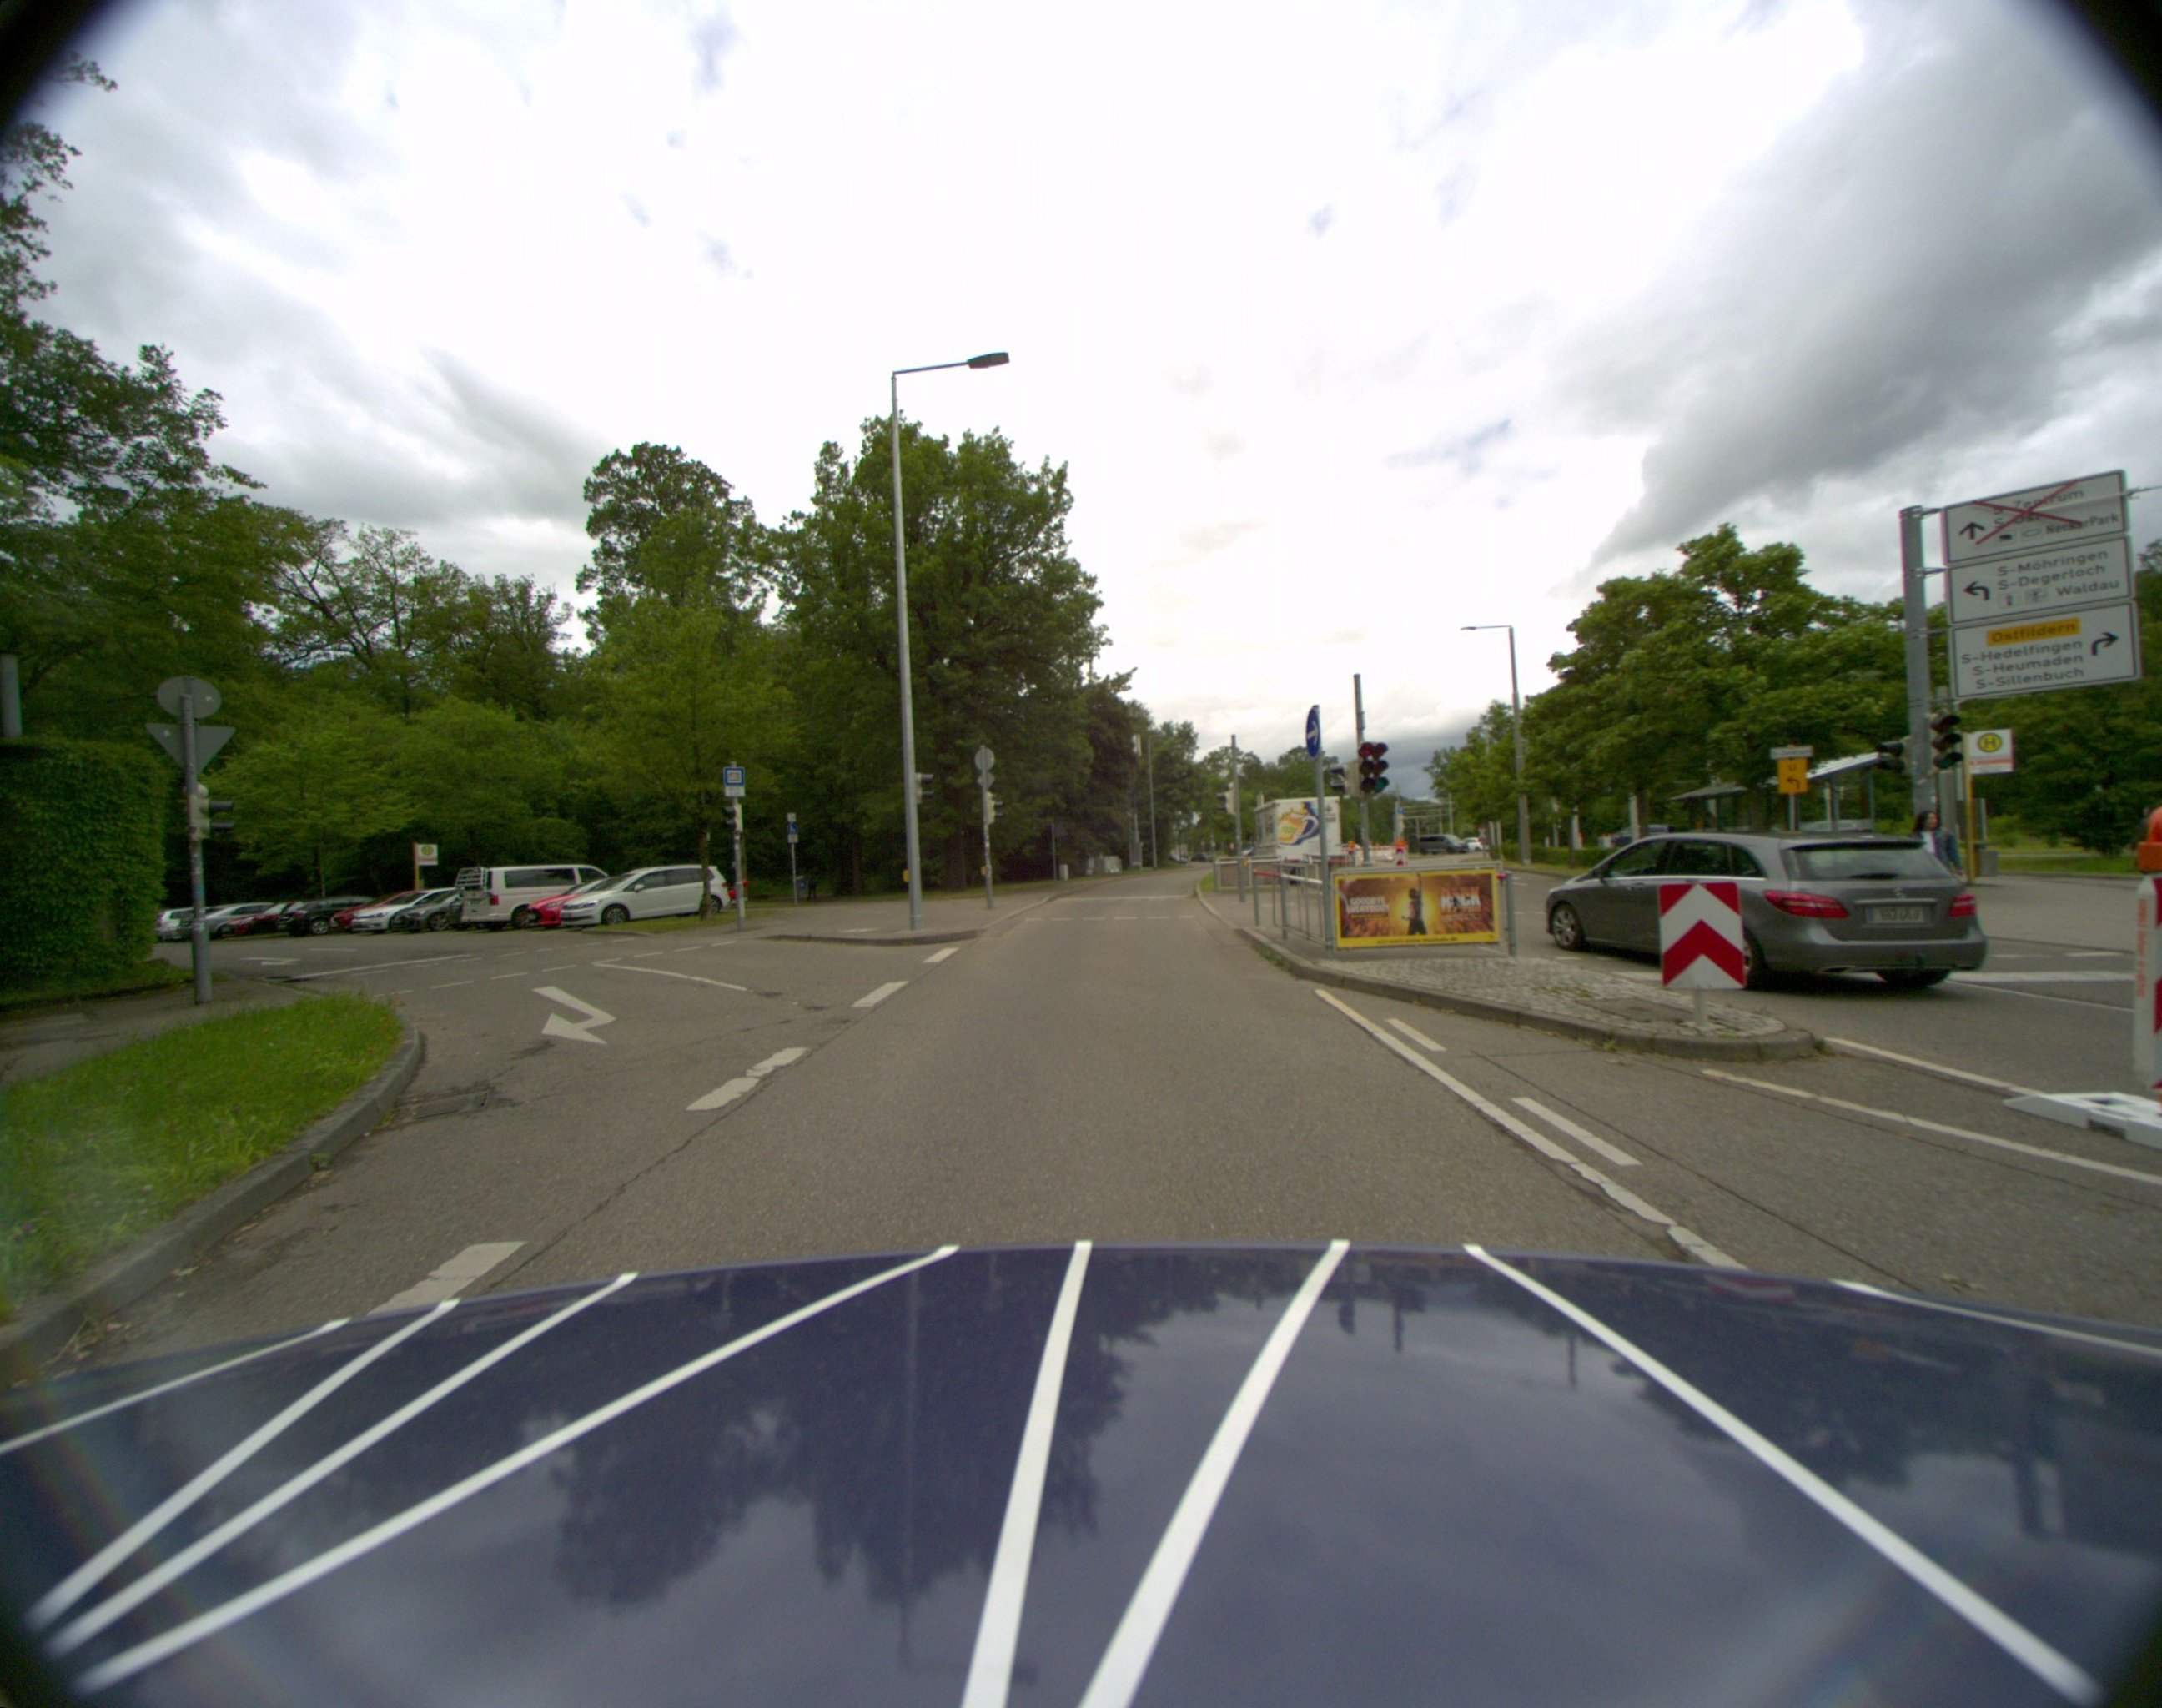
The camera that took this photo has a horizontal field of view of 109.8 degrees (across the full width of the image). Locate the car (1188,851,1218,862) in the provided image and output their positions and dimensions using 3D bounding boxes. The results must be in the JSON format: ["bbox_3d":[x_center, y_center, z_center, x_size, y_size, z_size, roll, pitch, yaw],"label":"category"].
[{"bbox_3d":[18.937,0.407,118.234,1.884,1.586,4.441,-4,0,-34],"label":"car"}]

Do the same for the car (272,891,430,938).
[{"bbox_3d":[-28.757,2.339,30.086,1.760,1.448,4.074,-4,0,28],"label":"car"}]

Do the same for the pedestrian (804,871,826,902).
[{"bbox_3d":[-14.761,1.778,42.253,0.833,1.641,1.035,-4,0,-6],"label":"pedestrian"}]

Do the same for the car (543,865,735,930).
[{"bbox_3d":[-12.908,1.230,22.487,1.995,1.543,4.428,-4,0,32],"label":"car"}]

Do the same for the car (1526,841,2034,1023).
[{"bbox_3d":[7.167,0.631,8.580,1.812,1.500,4.307,-1,1,1],"label":"car"}]

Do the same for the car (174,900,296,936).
[{"bbox_3d":[-38.037,2.874,34.249,1.515,1.254,3.287,-4,0,22],"label":"car"}]

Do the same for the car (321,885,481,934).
[{"bbox_3d":[-26.246,2.126,29.499,1.815,1.486,4.207,-4,0,28],"label":"car"}]

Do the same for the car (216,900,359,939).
[{"bbox_3d":[-33.369,2.724,32.084,1.616,1.258,3.780,-4,0,22],"label":"car"}]

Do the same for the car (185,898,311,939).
[{"bbox_3d":[-35.884,2.755,32.831,1.515,1.421,3.287,-4,0,22],"label":"car"}]

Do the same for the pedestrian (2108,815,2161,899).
[{"bbox_3d":[20.290,0.046,14.372,0.775,1.537,0.628,-4,2,10],"label":"pedestrian"}]

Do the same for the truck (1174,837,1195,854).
[{"bbox_3d":[21.152,-1.769,155.338,2.742,3.192,6.682,-4,0,20],"label":"truck"}]

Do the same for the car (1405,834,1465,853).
[{"bbox_3d":[34.045,-0.996,73.178,1.961,1.578,4.899,-4,0,-32],"label":"car"}]

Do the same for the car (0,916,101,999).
[{"bbox_3d":[-20.948,2.022,13.528,1.817,1.411,3.854,-4,0,20],"label":"car"}]

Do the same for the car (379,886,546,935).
[{"bbox_3d":[-21.835,1.957,27.011,1.815,1.317,4.136,-4,0,28],"label":"car"}]

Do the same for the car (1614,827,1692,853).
[{"bbox_3d":[48.278,-1.163,64.215,2.003,1.805,4.824,-4,0,-29],"label":"car"}]

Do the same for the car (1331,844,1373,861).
[{"bbox_3d":[29.333,-0.146,82.367,1.901,1.631,3.975,-4,0,-30],"label":"car"}]

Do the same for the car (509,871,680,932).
[{"bbox_3d":[-15.092,1.443,23.805,1.890,1.543,4.007,-4,0,32],"label":"car"}]

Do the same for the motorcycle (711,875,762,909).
[{"bbox_3d":[-13.302,1.485,29.338,1.953,1.197,0.591,-4,0,24],"label":"motorcycle"}]

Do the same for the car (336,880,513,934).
[{"bbox_3d":[-24.073,1.914,28.085,1.839,1.548,4.539,-4,0,25],"label":"car"}]

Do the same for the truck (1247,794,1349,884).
[{"bbox_3d":[8.503,-0.567,30.534,2.635,3.219,6.207,-1,1,3],"label":"truck"}]

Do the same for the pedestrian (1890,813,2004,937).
[{"bbox_3d":[12.451,0.278,10.967,0.908,1.667,1.096,-1,1,39],"label":"pedestrian"}]

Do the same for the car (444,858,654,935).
[{"bbox_3d":[-17.329,1.317,25.124,2.058,1.946,5.190,-4,1,28],"label":"car"}]

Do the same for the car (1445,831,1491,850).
[{"bbox_3d":[40.272,-1.394,79.208,1.861,1.712,3.784,-4,0,-29],"label":"car"}]

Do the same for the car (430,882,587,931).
[{"bbox_3d":[-19.788,1.769,26.458,1.717,1.320,3.942,-4,0,26],"label":"car"}]

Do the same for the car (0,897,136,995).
[{"bbox_3d":[-23.340,2.014,15.332,1.995,1.867,4.958,-4,0,27],"label":"car"}]
